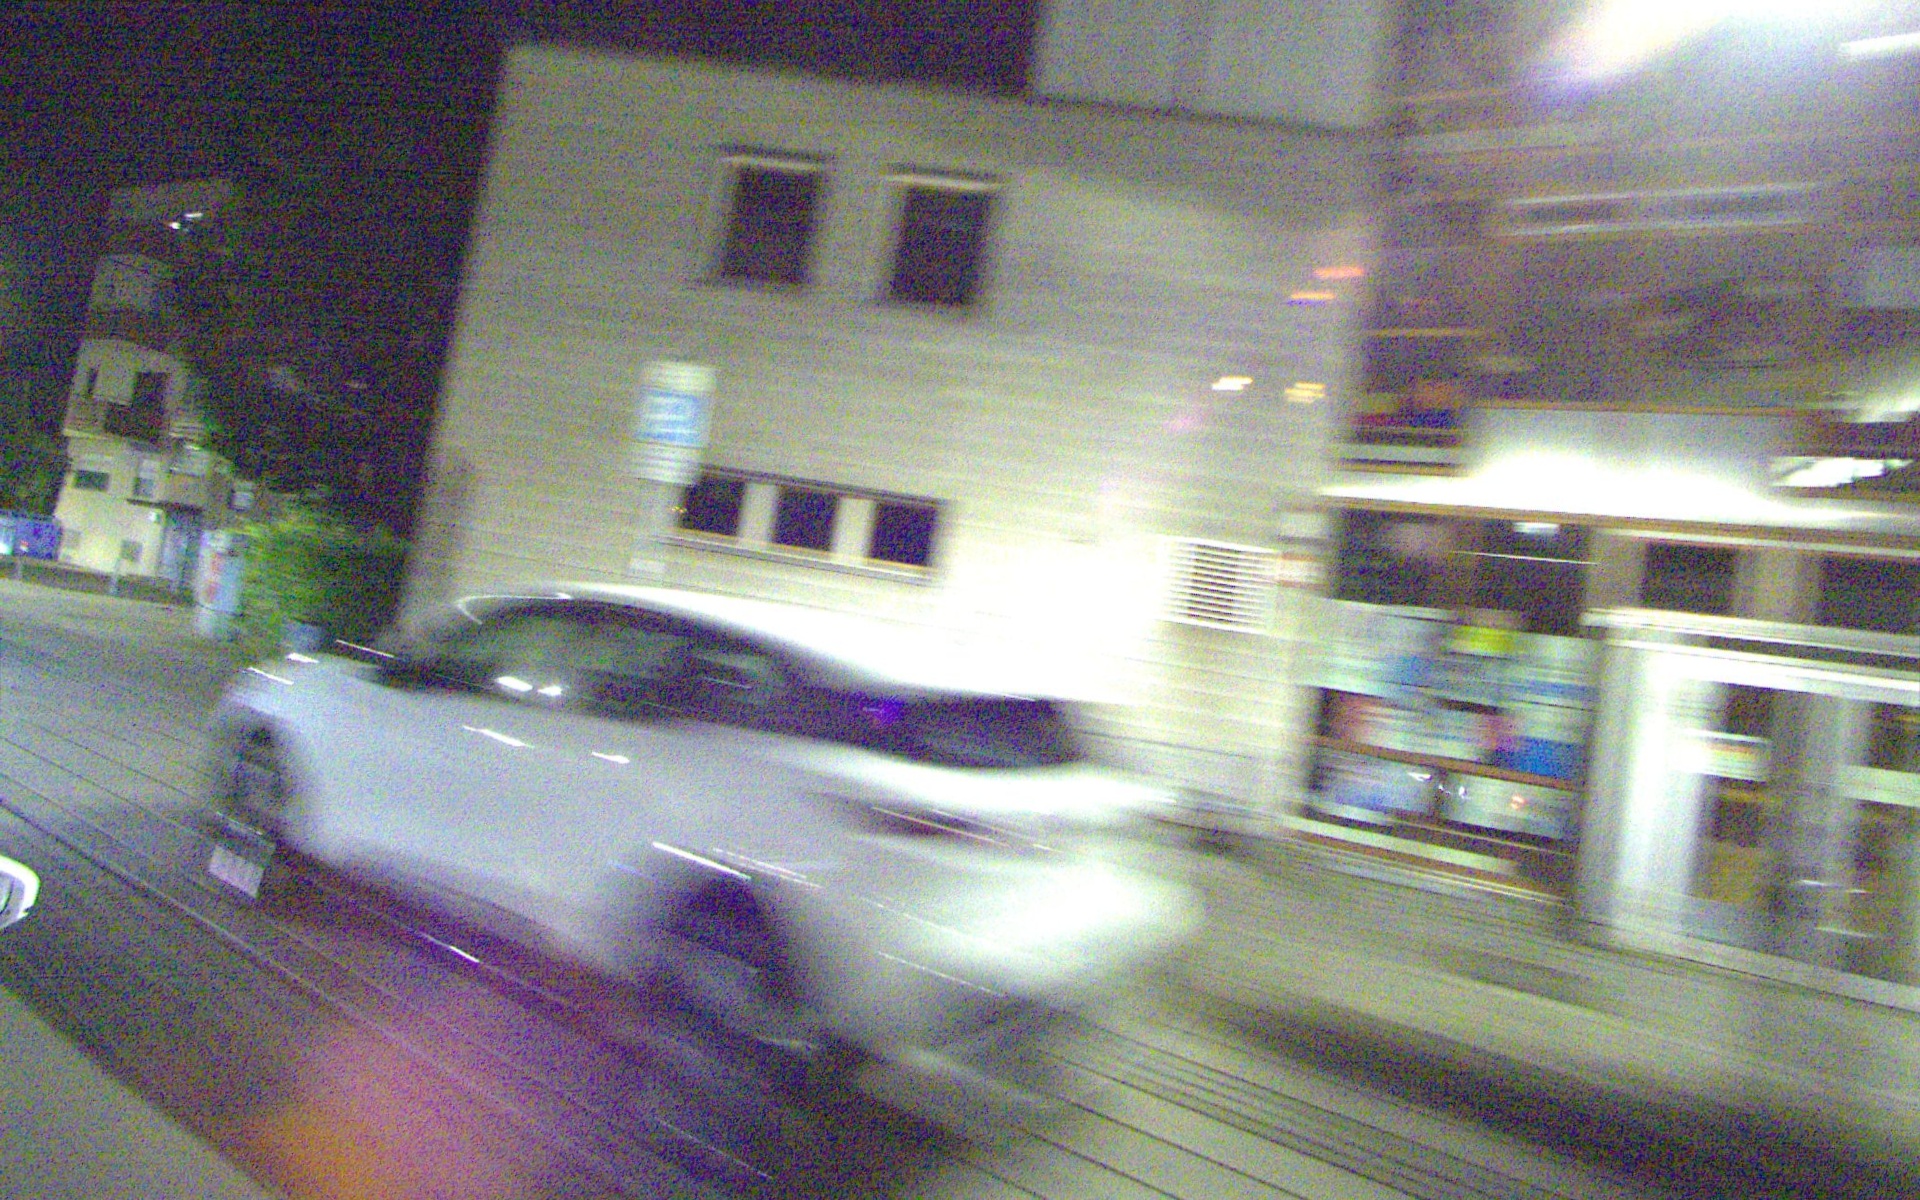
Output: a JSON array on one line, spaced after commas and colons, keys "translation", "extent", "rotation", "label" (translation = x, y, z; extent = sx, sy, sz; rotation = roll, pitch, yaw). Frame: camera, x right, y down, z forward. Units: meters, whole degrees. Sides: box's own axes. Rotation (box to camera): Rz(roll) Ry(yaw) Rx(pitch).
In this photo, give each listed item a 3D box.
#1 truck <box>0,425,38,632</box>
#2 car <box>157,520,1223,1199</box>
[{"translation": [-13.908, -1.229, 12.179], "extent": [5.684, 2.337, 2.343], "rotation": [7, -3, 32], "label": "truck"}, {"translation": [-1.256, 0.693, 4.051], "extent": [3.993, 1.508, 1.793], "rotation": [7, -3, 33], "label": "car"}]
